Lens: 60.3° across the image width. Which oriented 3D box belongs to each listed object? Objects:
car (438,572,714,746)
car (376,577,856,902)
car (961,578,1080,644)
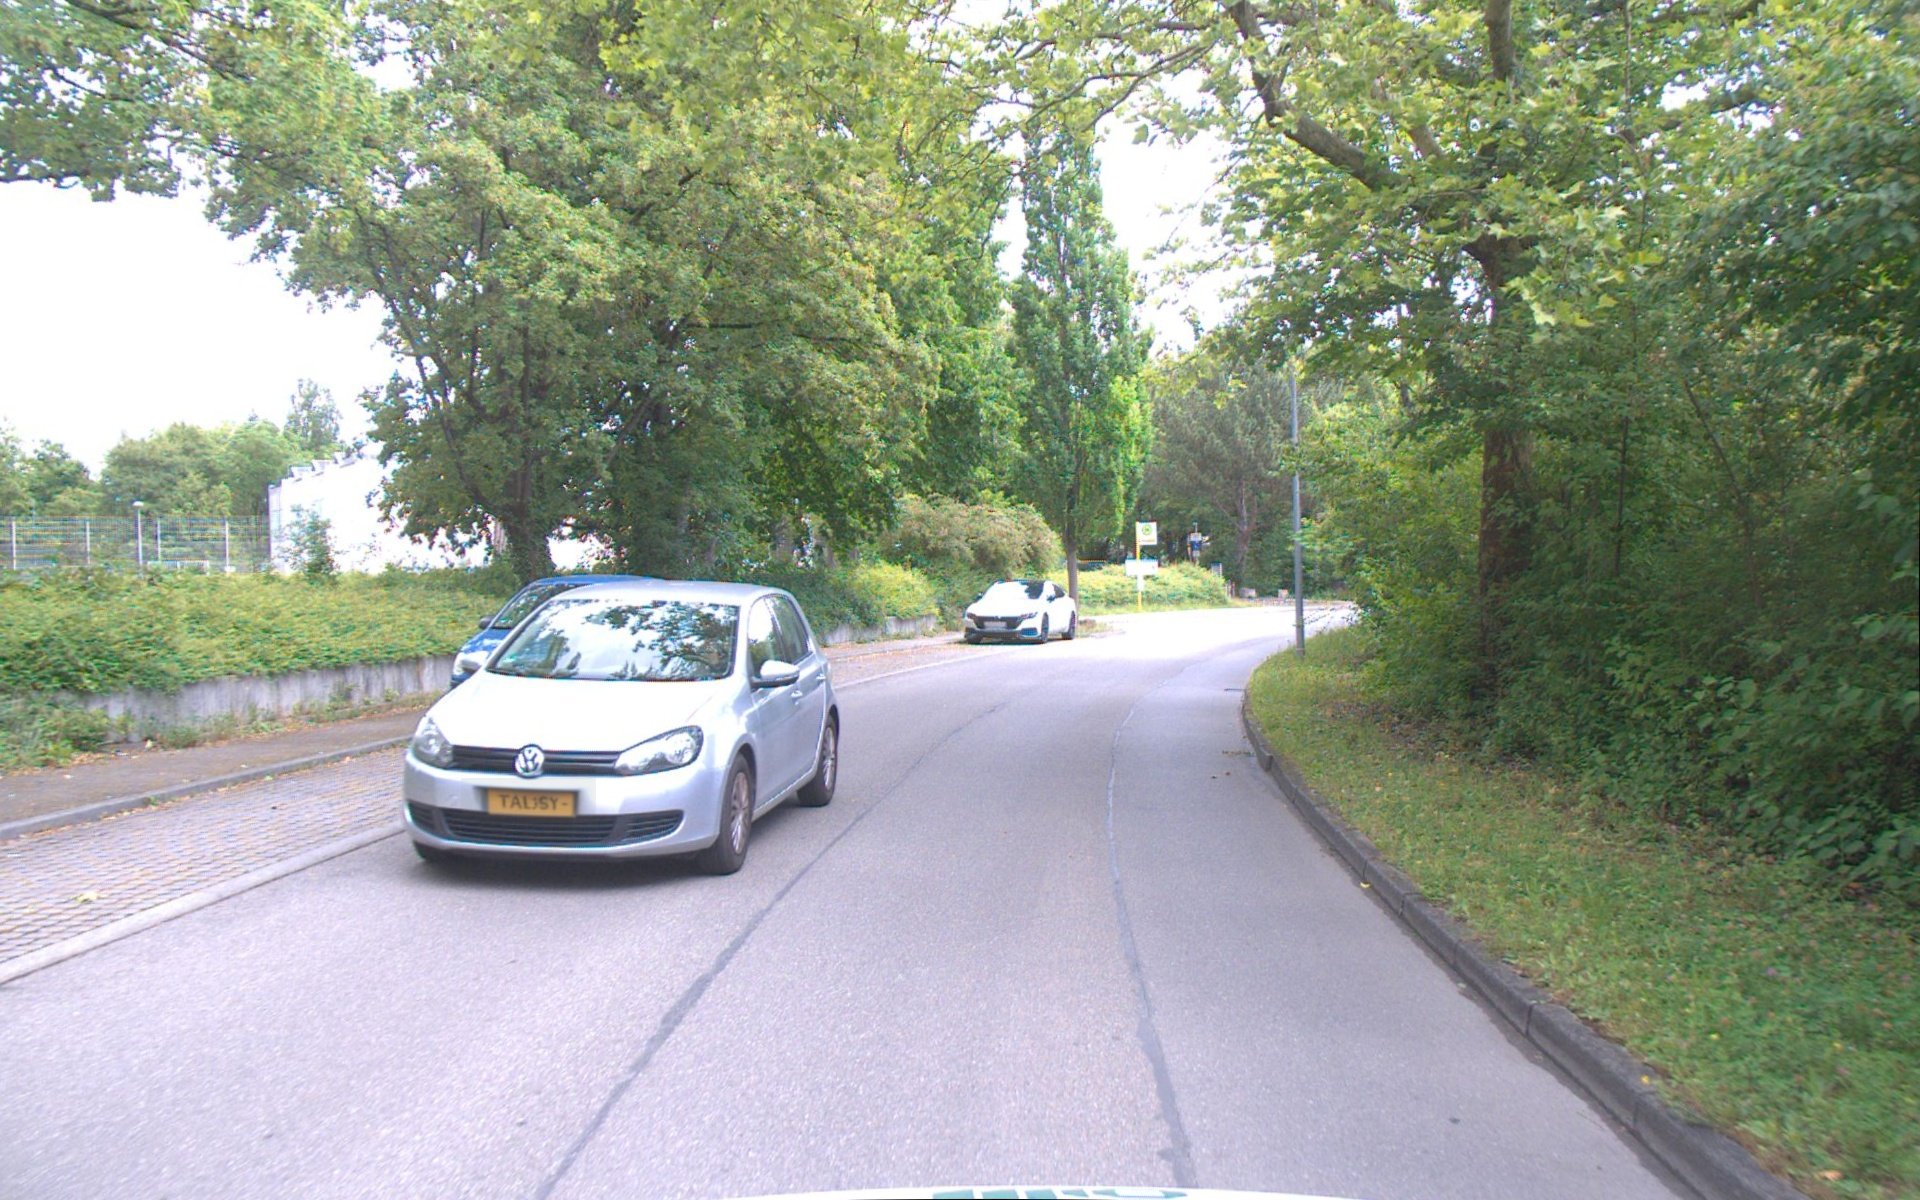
[{"bbox_3d":[-3.593,0.486,16.107,1.501,1.484,3.723,-1,1,5],"label":"car"},{"bbox_3d":[-1.756,0.623,9.802,1.641,1.488,4.064,1,1,5],"label":"car"},{"bbox_3d":[1.475,0.217,38.528,1.775,1.449,4.363,0,1,16],"label":"car"}]
